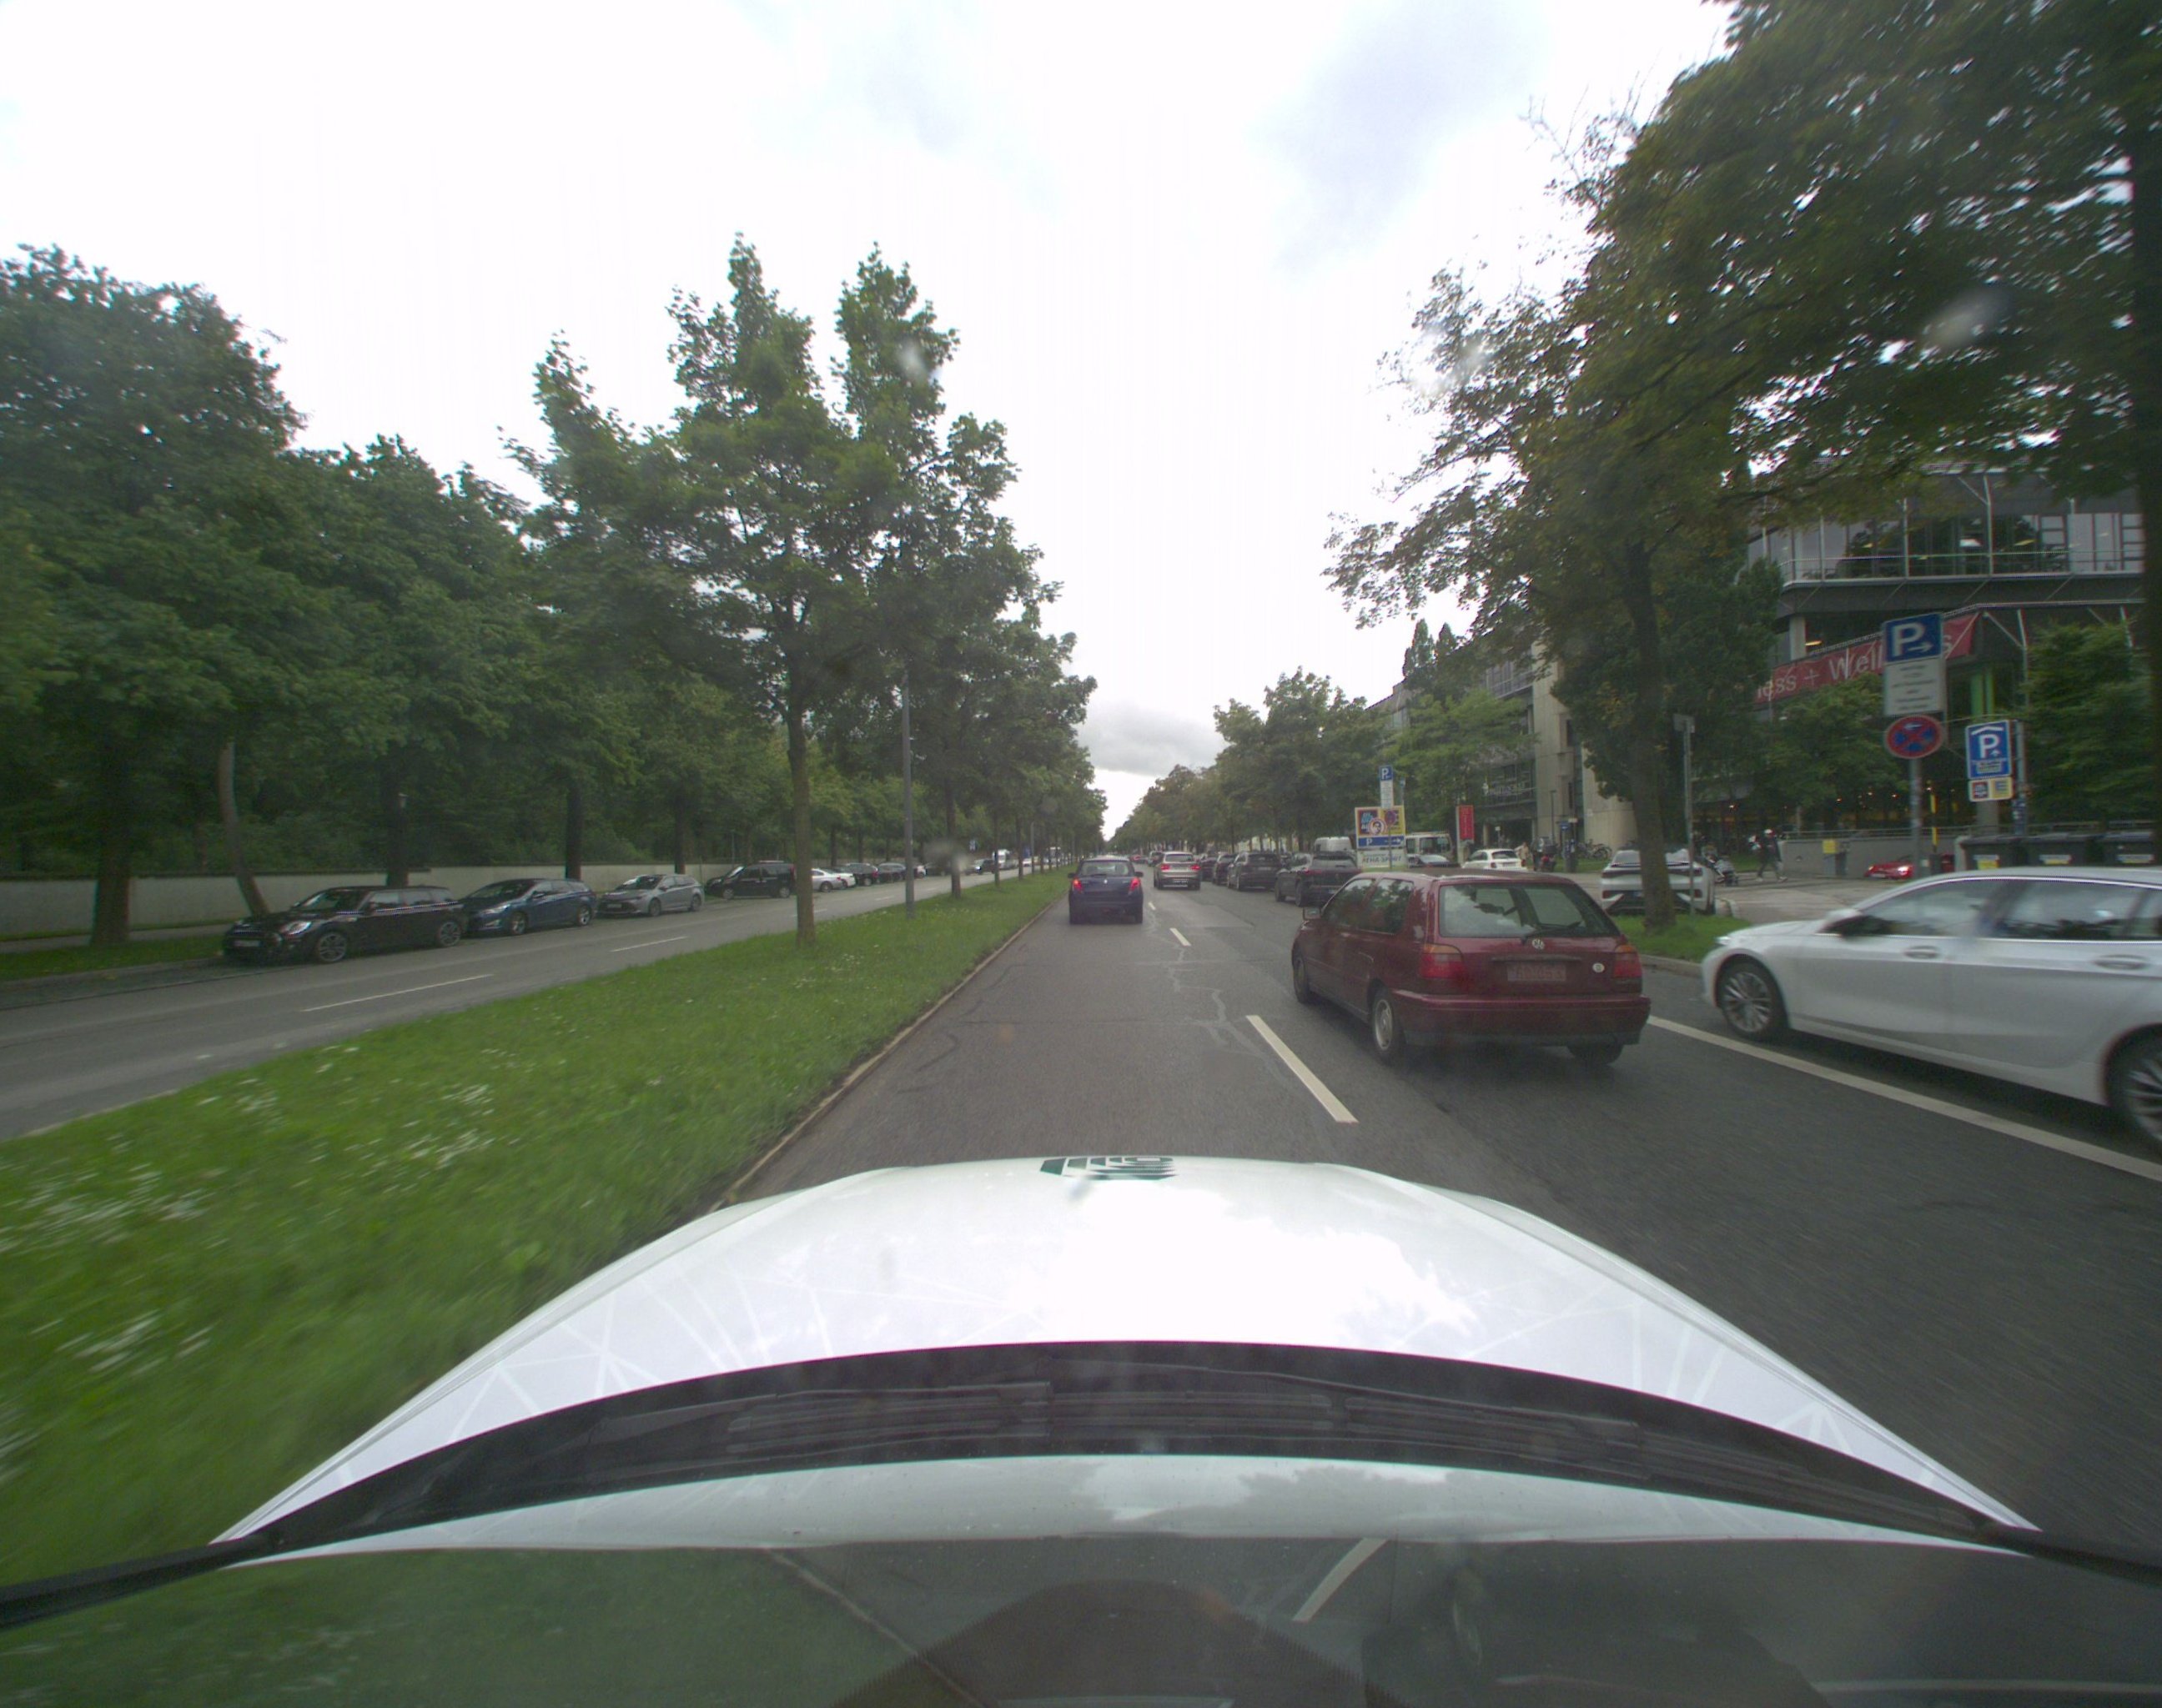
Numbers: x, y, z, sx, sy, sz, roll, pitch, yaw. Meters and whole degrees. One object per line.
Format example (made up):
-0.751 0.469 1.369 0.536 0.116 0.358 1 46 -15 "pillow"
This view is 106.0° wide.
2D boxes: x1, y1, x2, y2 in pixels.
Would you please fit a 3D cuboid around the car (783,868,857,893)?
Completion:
-16.164 1.614 50.489 4.059 1.381 1.657 -2 0 -34 "car"

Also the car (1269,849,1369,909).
7.037 0.683 24.558 1.755 1.589 4.453 -2 0 1 "car"

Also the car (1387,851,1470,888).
15.114 0.632 35.712 1.678 1.454 4.840 -2 0 2 "car"

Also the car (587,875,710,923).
-15.339 1.544 29.235 1.629 1.439 4.812 0 0 3 "car"

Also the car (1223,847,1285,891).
7.280 0.581 34.687 1.754 1.701 4.823 -2 0 2 "car"

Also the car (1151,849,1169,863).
9.474 0.248 97.497 1.679 1.553 4.304 -2 0 -1 "car"

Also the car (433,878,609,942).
-15.551 1.492 22.972 1.581 1.459 4.799 0 0 1 "car"

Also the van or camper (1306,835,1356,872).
18.355 -0.048 60.097 2.016 2.558 5.960 -2 0 2 "van or camper"

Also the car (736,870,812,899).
-16.483 1.622 43.738 3.590 1.354 1.737 -2 0 -29 "car"

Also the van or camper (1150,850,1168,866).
9.906 0.511 103.698 1.937 1.975 4.309 -2 0 3 "van or camper"

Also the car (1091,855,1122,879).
1.605 0.819 52.845 1.844 1.447 4.097 -2 0 0 "car"

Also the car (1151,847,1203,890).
4.244 0.621 36.457 1.844 1.743 4.097 -2 0 0 "car"

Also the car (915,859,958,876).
-15.459 1.443 87.248 4.122 1.695 1.900 -2 0 -32 "car"

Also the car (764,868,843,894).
-16.117 1.536 47.386 4.015 1.354 1.832 -2 0 -33 "car"

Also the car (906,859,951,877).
-15.773 1.458 84.145 4.122 1.695 1.900 -2 0 -32 "car"

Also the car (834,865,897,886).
-16.475 1.655 62.299 4.213 1.410 1.900 -2 0 -32 "car"

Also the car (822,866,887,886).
-16.495 1.581 59.314 4.217 1.322 1.900 -2 0 -32 "car"

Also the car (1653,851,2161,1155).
6.070 0.719 5.267 1.647 1.434 4.484 -2 0 1 "car"

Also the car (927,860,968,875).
-14.942 1.490 91.199 4.122 1.585 1.900 -2 0 -32 "car"

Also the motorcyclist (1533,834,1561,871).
22.965 -0.052 40.139 0.688 1.737 0.954 -6 0 2 "motorcyclist"

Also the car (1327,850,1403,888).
11.824 0.599 34.142 1.758 1.488 3.998 0 0 -1 "car"

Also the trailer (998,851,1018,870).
-10.500 0.894 118.141 2.098 2.540 5.579 -2 0 2 "trailer"

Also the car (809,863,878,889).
-16.325 1.493 55.989 4.127 1.597 1.898 -2 0 -37 "car"

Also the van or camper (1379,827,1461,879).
17.951 -0.044 43.482 1.986 2.558 5.960 -2 0 2 "van or camper"

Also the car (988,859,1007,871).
-11.106 1.427 108.552 1.907 1.542 4.187 -2 0 0 "car"

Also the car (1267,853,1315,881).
12.041 0.713 46.930 1.742 1.479 4.009 -2 0 0 "car"

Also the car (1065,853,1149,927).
0.588 0.789 19.675 1.783 1.555 4.000 -2 0 0 "car"

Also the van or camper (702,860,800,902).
-16.441 1.318 40.641 4.146 1.854 1.829 -2 0 -39 "van or camper"

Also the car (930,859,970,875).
-15.172 1.471 94.156 4.122 1.652 1.900 -2 0 -32 "car"

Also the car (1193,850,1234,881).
7.677 0.635 47.491 1.758 1.651 4.425 -1 0 2 "car"

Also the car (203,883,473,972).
-15.543 1.461 17.415 1.563 1.503 4.310 0 0 6 "car"

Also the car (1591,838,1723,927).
12.410 0.512 17.405 1.948 1.625 4.877 -1 0 39 "car"

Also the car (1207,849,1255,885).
7.477 0.635 40.965 1.715 1.651 4.390 -2 0 2 "car"

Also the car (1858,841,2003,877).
29.180 0.165 28.032 3.431 1.151 1.560 -1 0 -2 "car"
